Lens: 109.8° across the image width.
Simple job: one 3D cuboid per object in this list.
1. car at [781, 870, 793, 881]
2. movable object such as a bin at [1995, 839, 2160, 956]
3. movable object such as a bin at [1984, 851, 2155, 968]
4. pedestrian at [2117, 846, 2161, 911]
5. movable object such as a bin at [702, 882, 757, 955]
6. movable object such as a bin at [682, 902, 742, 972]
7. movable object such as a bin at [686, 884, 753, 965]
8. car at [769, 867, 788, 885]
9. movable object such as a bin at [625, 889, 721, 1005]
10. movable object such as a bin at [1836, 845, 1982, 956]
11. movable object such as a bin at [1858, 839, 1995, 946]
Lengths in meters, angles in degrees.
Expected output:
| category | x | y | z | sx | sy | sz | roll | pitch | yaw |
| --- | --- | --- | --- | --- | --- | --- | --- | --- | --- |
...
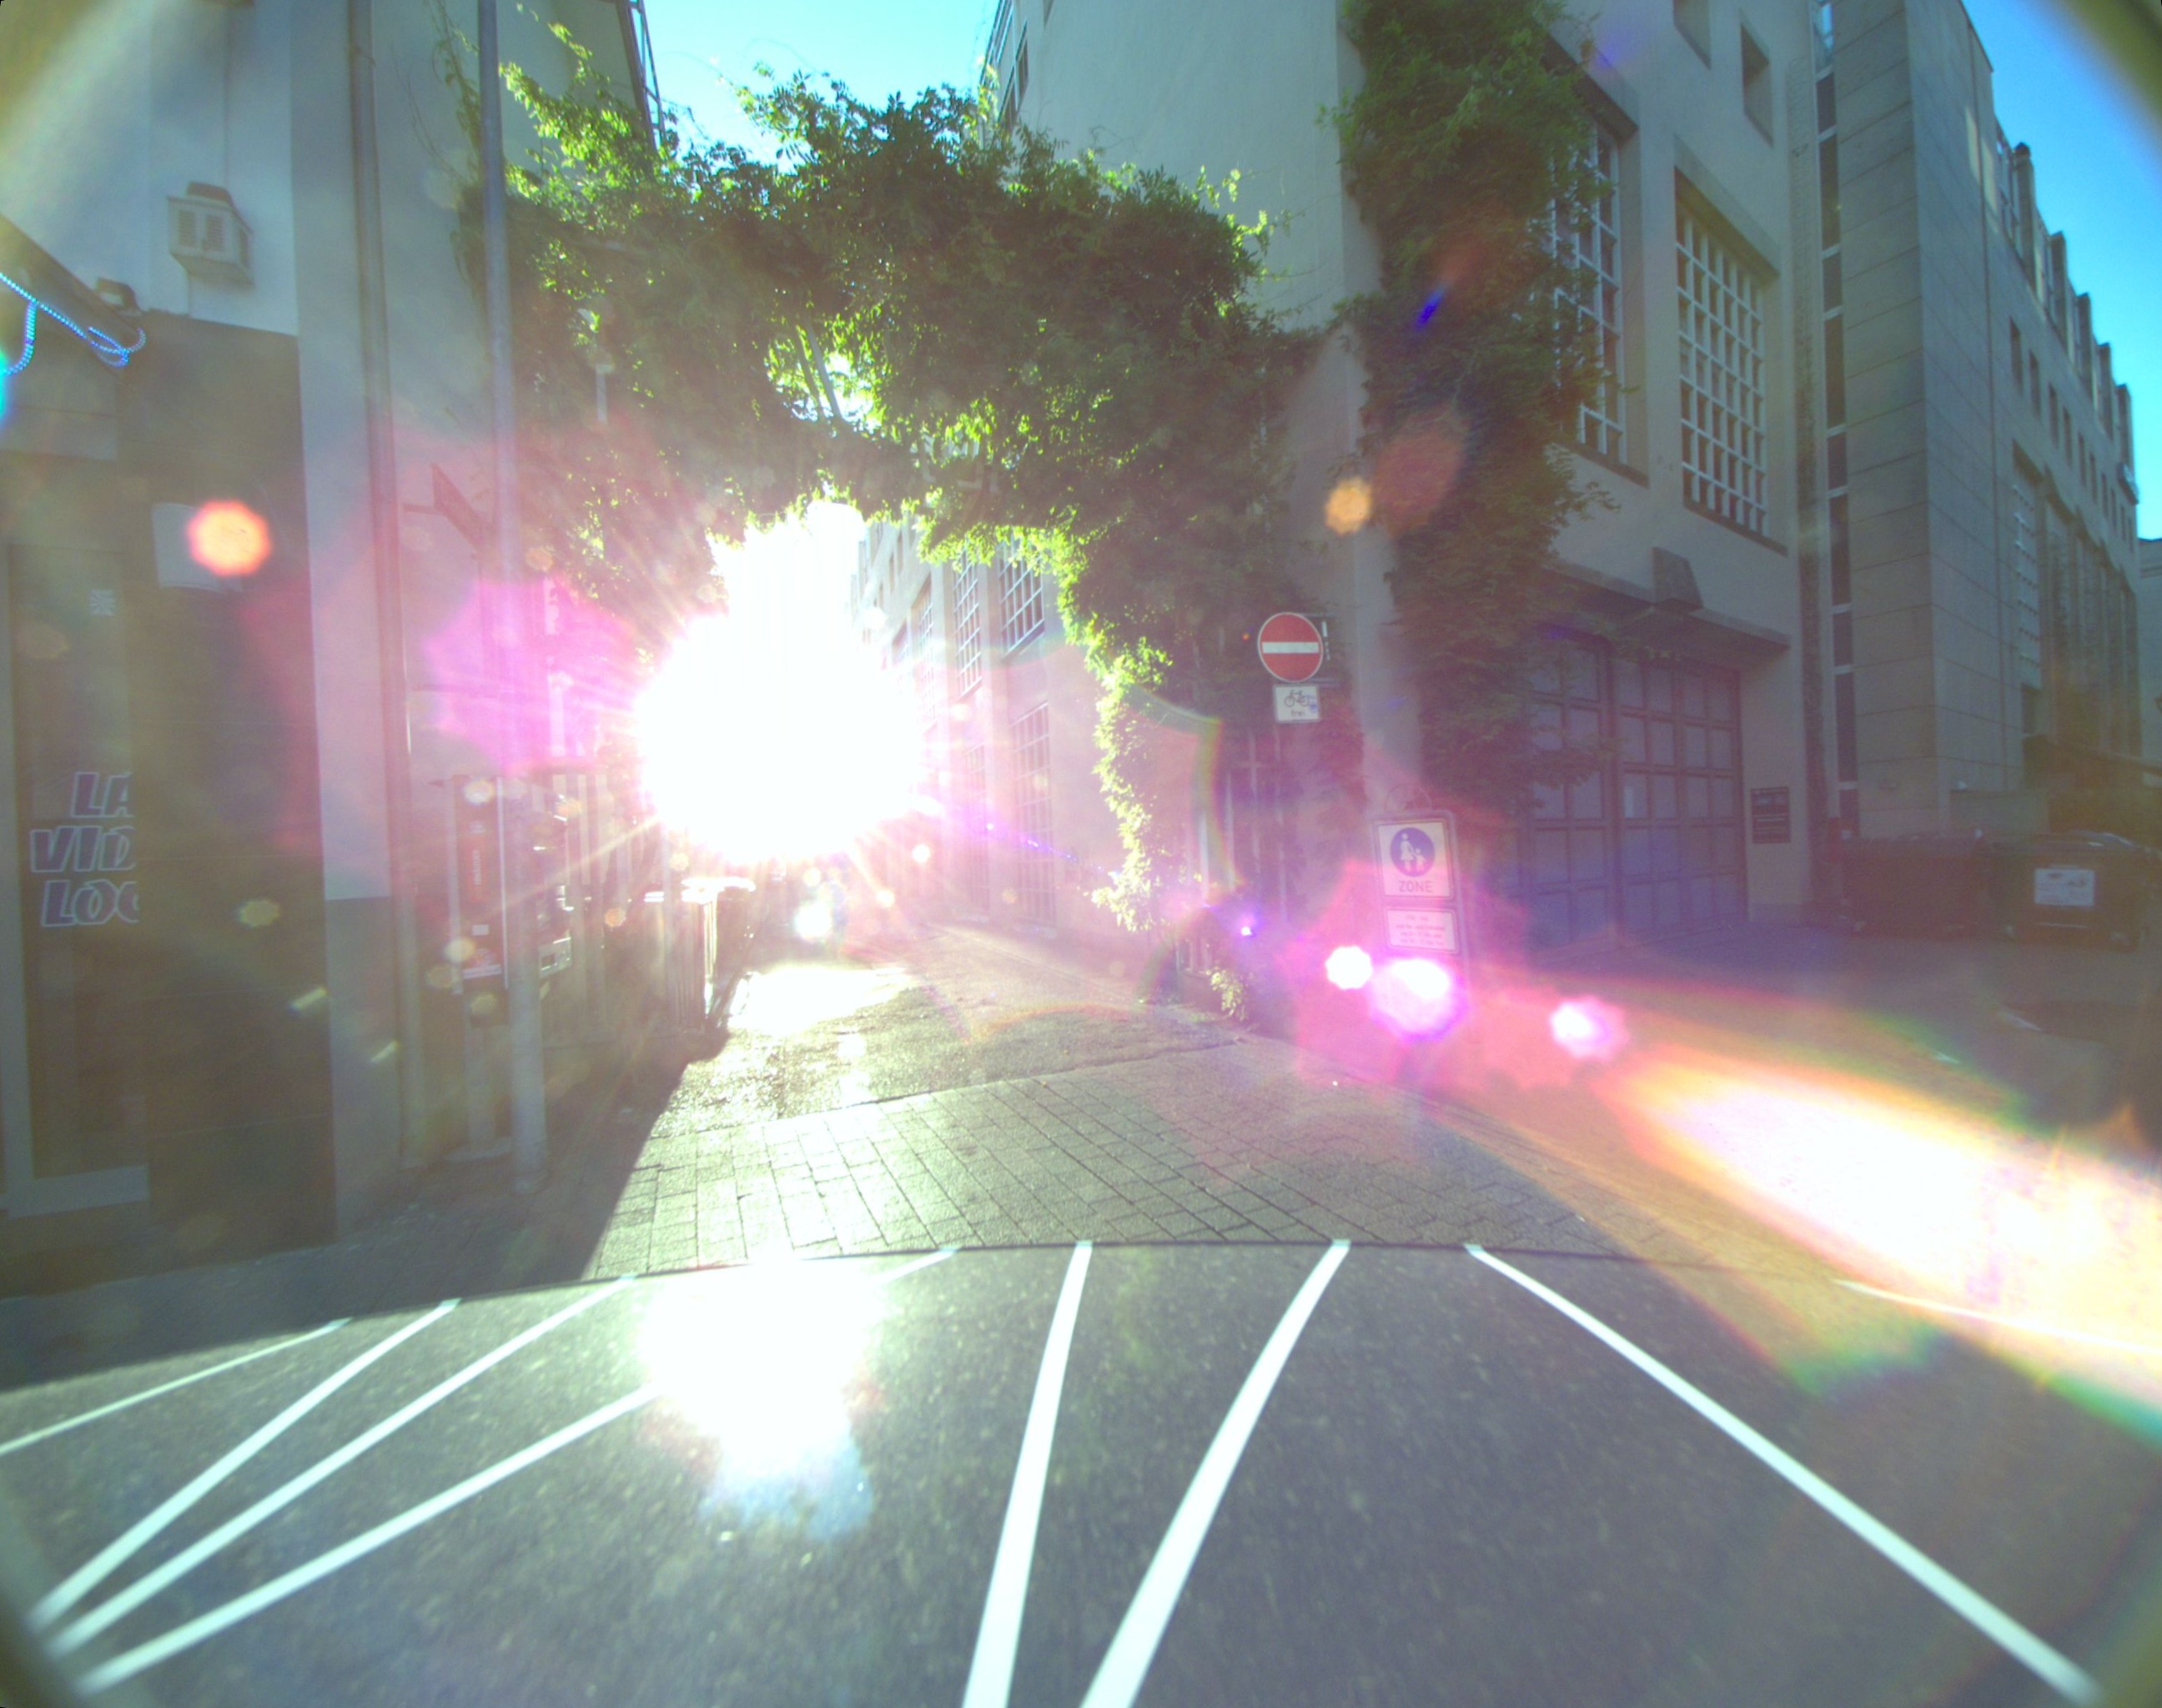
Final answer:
| category | x | y | z | sx | sy | sz | roll | pitch | yaw |
| --- | --- | --- | --- | --- | --- | --- | --- | --- | --- |
| car | -55.816 | 4.095 | 144.155 | 2.002 | 1.805 | 3.993 | -4 | 1 | -23 |
| movable object such as a bin | 13.786 | 0.537 | 10.529 | 1.170 | 1.459 | 1.273 | -2 | 3 | -34 |
| movable object such as a bin | 12.732 | 0.659 | 9.807 | 1.170 | 1.322 | 1.229 | -2 | 3 | -34 |
| pedestrian | 20.240 | 0.449 | 14.446 | 0.633 | 1.193 | 0.588 | -2 | 1 | -33 |
| movable object such as a bin | -7.087 | 1.266 | 15.280 | 0.941 | 1.358 | 1.339 | 0 | -1 | -27 |
| movable object such as a bin | -6.200 | 1.375 | 12.804 | 0.873 | 1.068 | 0.737 | 0 | -1 | -23 |
| movable object such as a bin | -6.607 | 1.245 | 13.962 | 1.069 | 1.358 | 1.340 | 0 | -1 | -23 |
| car | -32.673 | 2.368 | 82.141 | 1.767 | 1.756 | 4.742 | -4 | 0 | -21 |
| movable object such as a bin | -5.096 | 1.118 | 9.569 | 0.839 | 1.297 | 1.288 | 0 | -1 | -18 |
| movable object such as a bin | 11.674 | 0.601 | 10.729 | 1.170 | 1.429 | 1.229 | -2 | 2 | -34 |
| movable object such as a bin | 12.709 | 0.527 | 11.438 | 1.170 | 1.479 | 1.229 | -2 | 2 | -34 |
